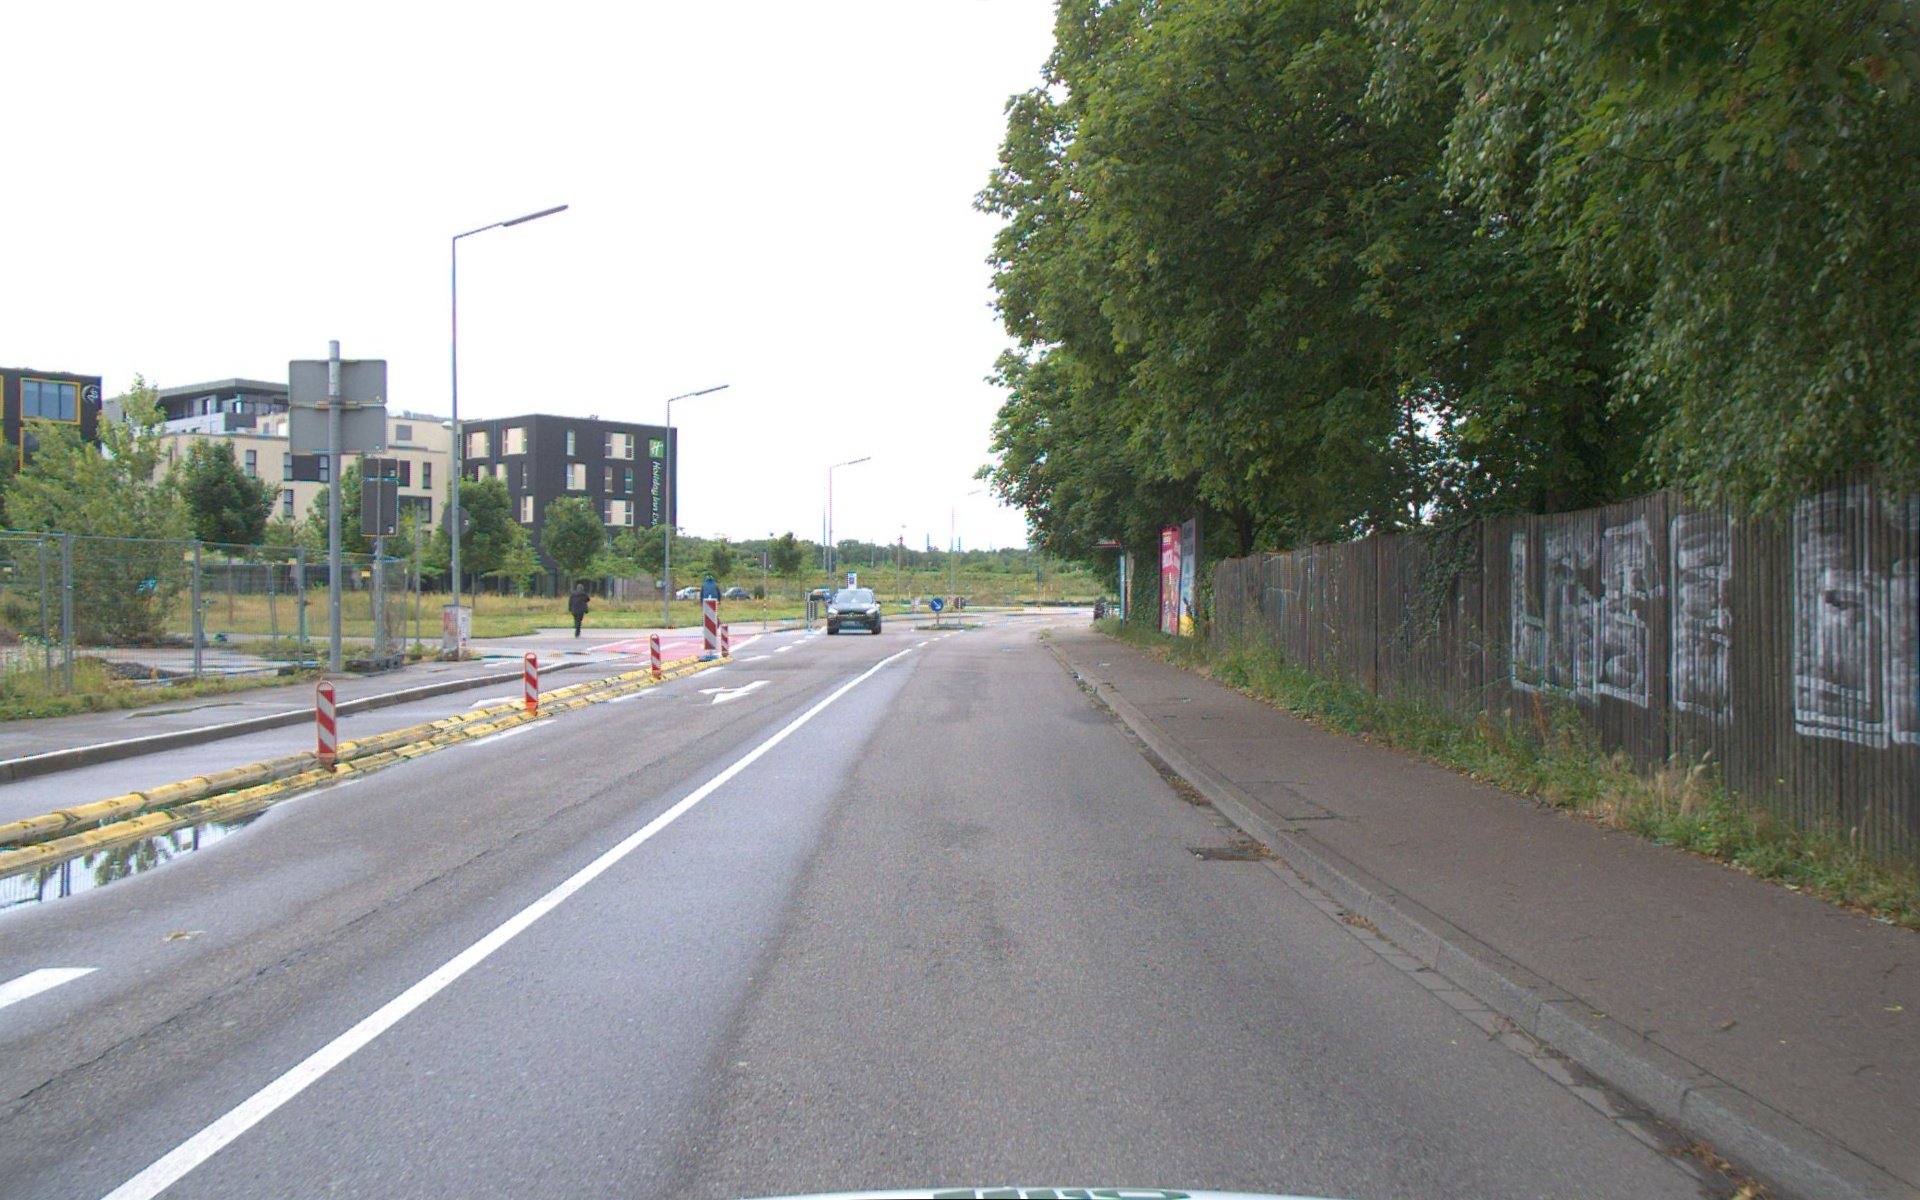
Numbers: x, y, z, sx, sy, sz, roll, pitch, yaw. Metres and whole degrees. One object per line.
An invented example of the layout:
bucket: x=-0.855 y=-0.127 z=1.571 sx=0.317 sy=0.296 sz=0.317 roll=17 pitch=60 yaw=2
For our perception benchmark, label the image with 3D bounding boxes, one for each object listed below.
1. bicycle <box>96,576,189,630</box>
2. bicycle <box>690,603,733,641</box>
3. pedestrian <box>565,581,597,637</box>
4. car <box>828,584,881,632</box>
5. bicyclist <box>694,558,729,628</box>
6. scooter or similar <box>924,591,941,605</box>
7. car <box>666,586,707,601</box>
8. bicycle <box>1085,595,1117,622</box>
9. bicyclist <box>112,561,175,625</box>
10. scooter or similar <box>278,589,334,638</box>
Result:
bicycle: x=-25.089 y=0.069 z=50.770 sx=2.439 sy=1.611 sz=1.087 roll=0 pitch=1 yaw=15
bicycle: x=-7.360 y=0.637 z=49.163 sx=0.865 sy=1.070 sz=2.469 roll=0 pitch=1 yaw=1
pedestrian: x=-12.464 y=0.284 z=54.390 sx=0.827 sy=1.814 sz=1.077 roll=0 pitch=1 yaw=-3
car: x=-3.784 y=0.246 z=59.201 sx=1.844 sy=1.594 sz=4.355 roll=0 pitch=1 yaw=-4
bicyclist: x=-7.362 y=-0.211 z=49.114 sx=0.844 sy=2.049 sz=1.177 roll=0 pitch=1 yaw=1
scooter or similar: x=-2.457 y=-0.198 z=149.548 sx=1.432 sy=1.188 sz=0.572 roll=1 pitch=0 yaw=17
car: x=-28.419 y=-0.676 z=171.941 sx=1.959 sy=1.544 sz=4.140 roll=1 pitch=1 yaw=35
bicycle: x=6.063 y=0.344 z=70.950 sx=0.780 sy=1.130 sz=1.951 roll=0 pitch=0 yaw=24
bicyclist: x=-25.036 y=-0.238 z=50.727 sx=1.368 sy=1.932 sz=1.078 roll=0 pitch=1 yaw=16
scooter or similar: x=-16.123 y=0.334 z=40.752 sx=0.651 sy=1.162 sz=1.873 roll=1 pitch=0 yaw=-43
